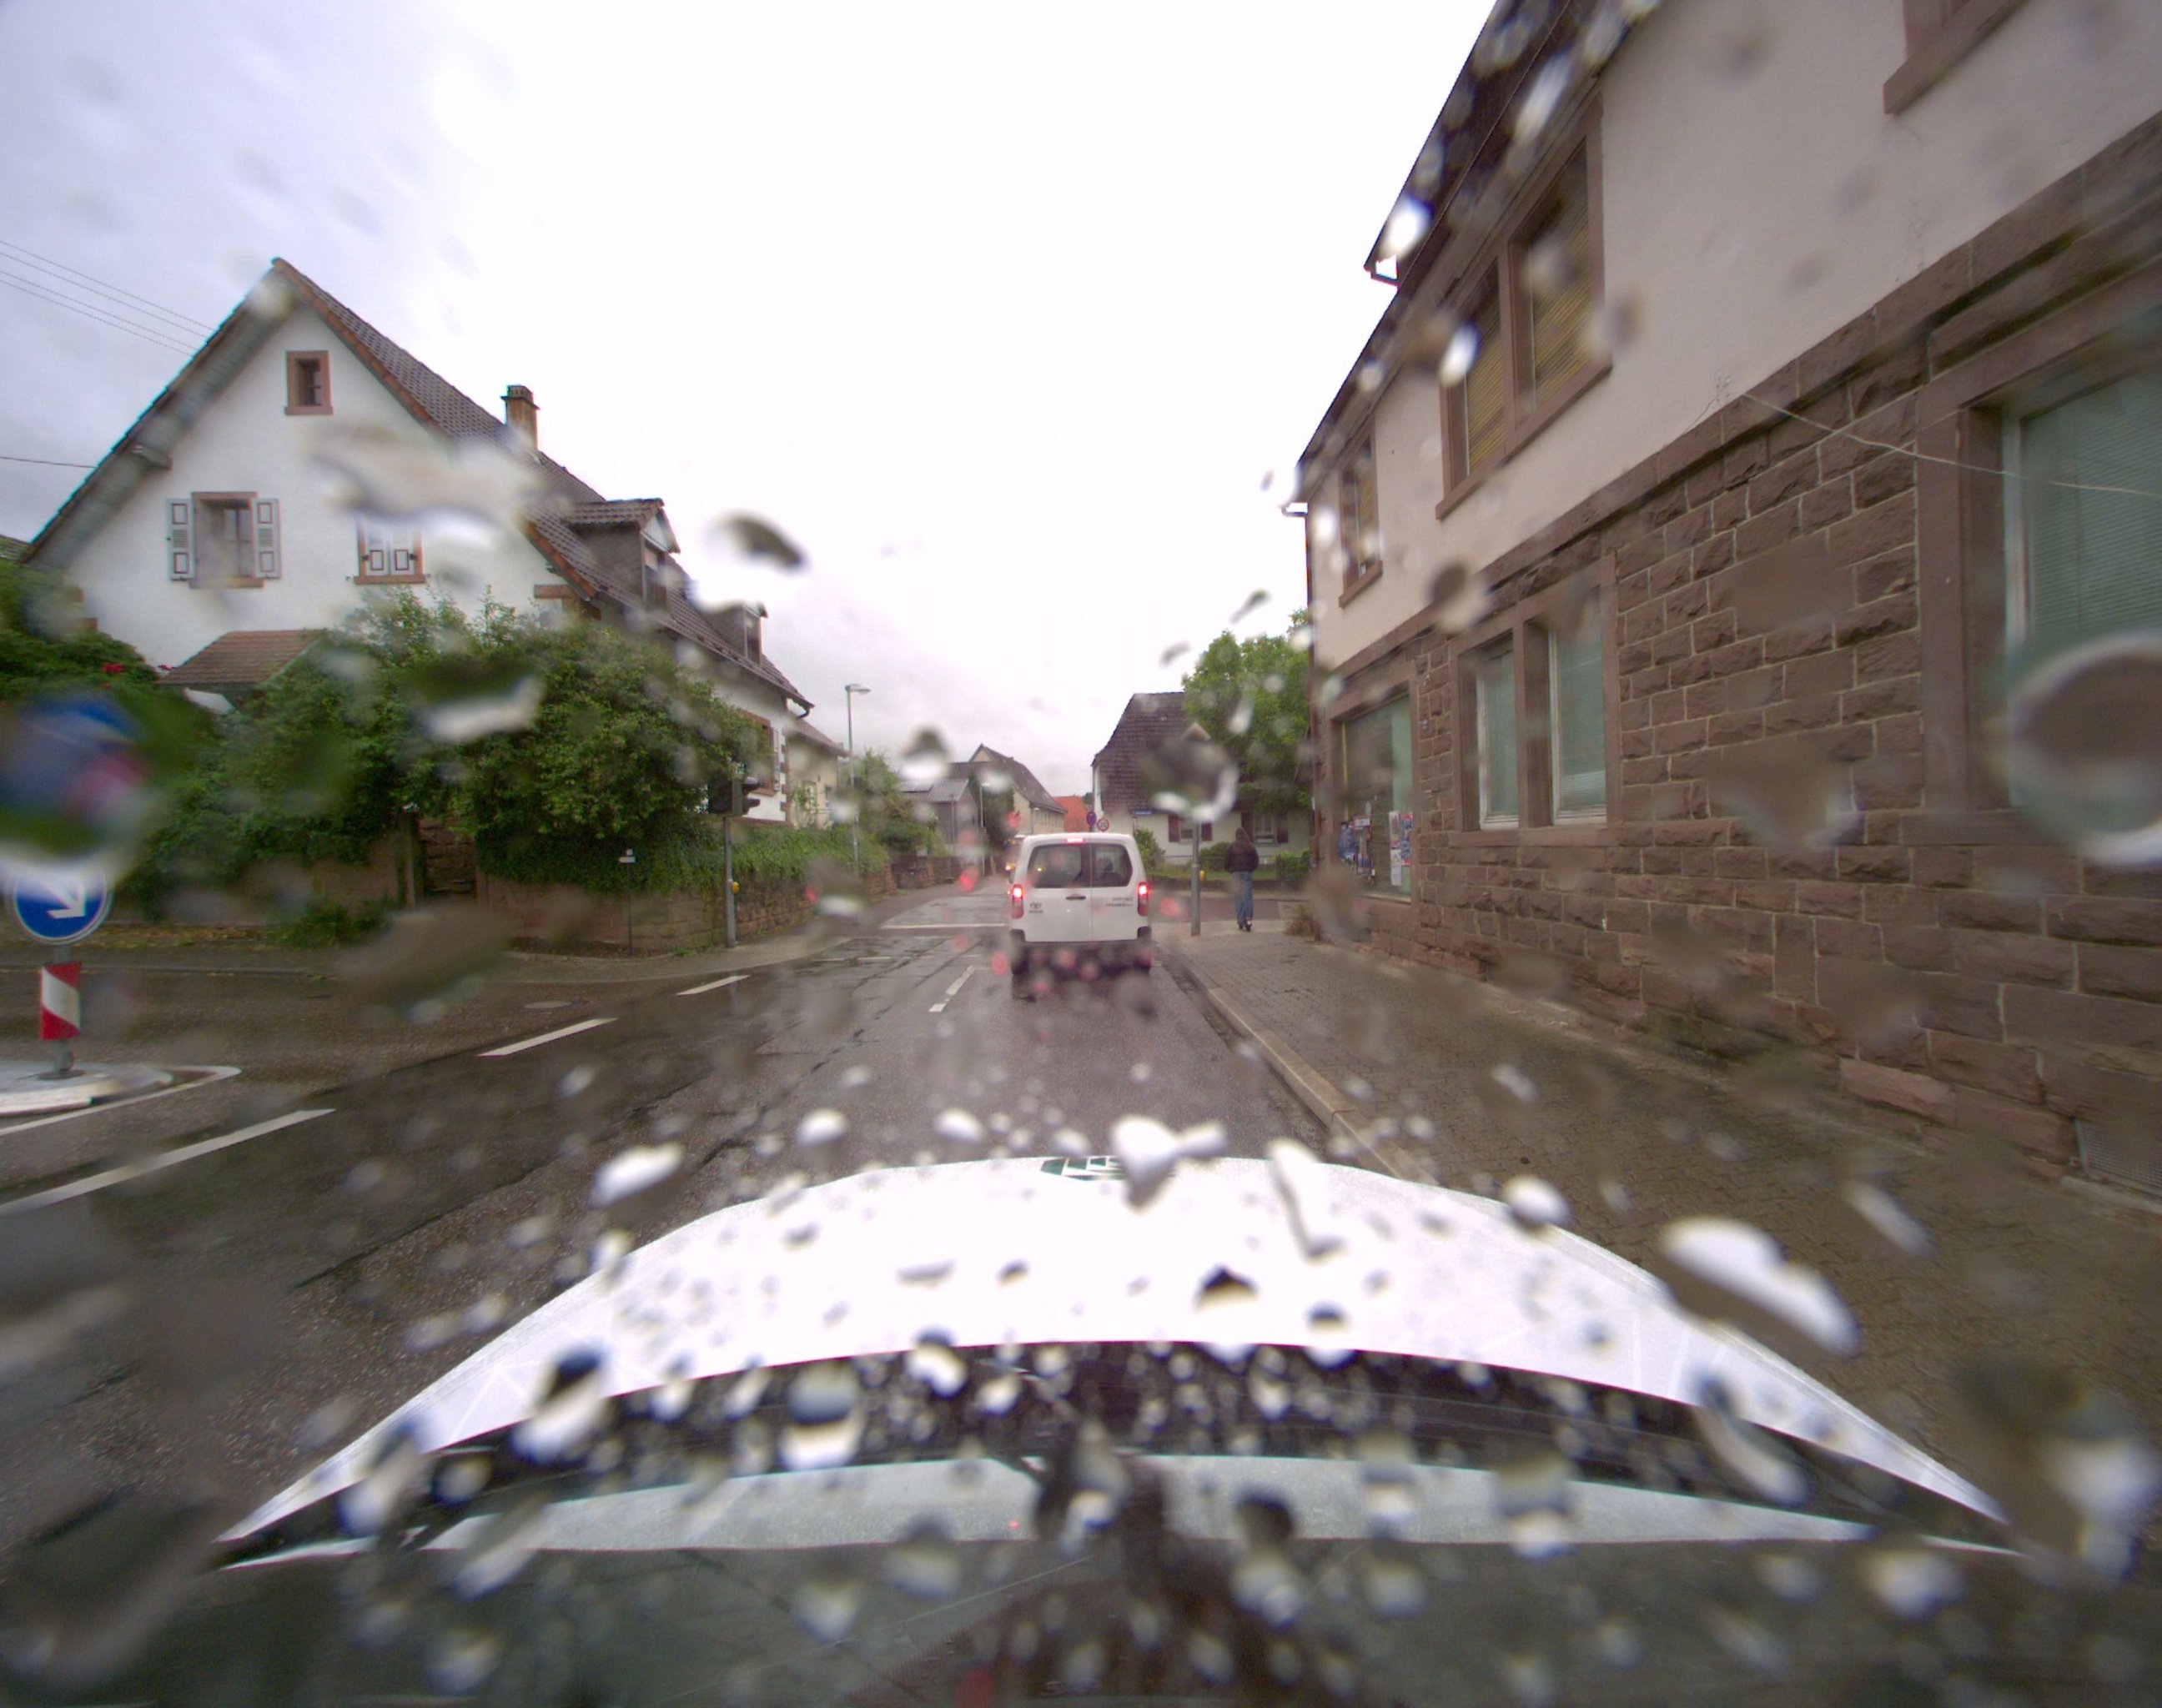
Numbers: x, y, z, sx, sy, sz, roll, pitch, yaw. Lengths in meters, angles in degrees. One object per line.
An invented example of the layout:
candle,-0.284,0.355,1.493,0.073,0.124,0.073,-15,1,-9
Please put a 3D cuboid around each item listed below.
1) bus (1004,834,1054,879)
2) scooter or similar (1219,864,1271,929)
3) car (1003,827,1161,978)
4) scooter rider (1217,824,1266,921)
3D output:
bus,-3.774,0.037,61.892,2.640,2.999,12.197,-1,2,1
scooter or similar,2.967,0.754,14.829,0.618,1.127,1.401,-1,-2,-1
car,-0.013,0.571,11.690,1.889,1.794,3.812,0,0,-1
scooter rider,2.941,0.338,14.954,0.729,1.733,0.518,-1,-2,-2
